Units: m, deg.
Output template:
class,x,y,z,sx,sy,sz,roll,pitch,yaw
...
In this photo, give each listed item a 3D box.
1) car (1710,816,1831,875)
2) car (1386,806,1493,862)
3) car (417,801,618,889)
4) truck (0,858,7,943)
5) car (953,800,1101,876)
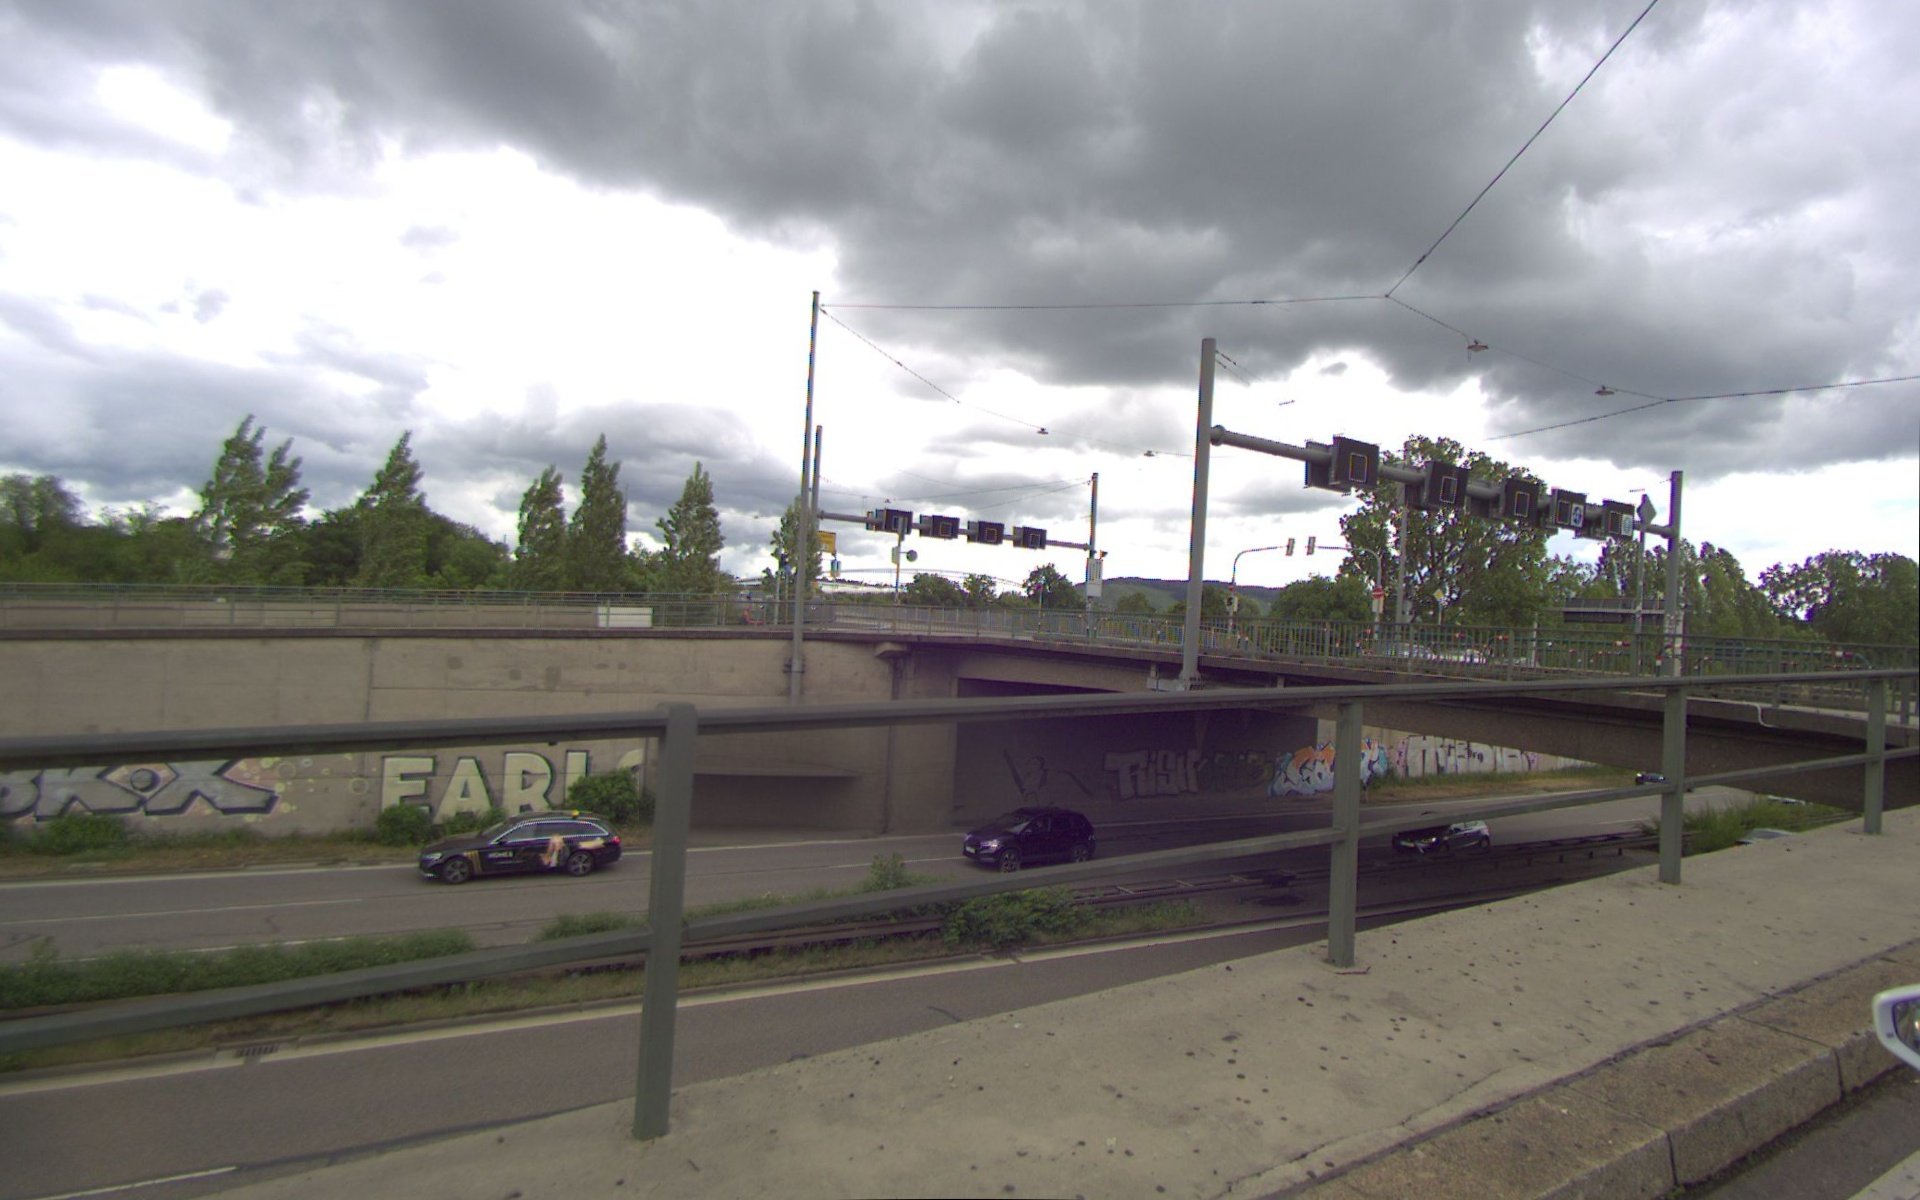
class,x,y,z,sx,sy,sz,roll,pitch,yaw
car,29.109,8.751,36.041,4.372,1.484,1.850,5,-2,-29
car,16.896,8.204,35.374,3.610,1.472,1.705,5,-3,-31
car,-11.537,6.320,26.287,4.581,1.673,1.851,5,-3,-30
truck,-14.449,4.477,9.653,7.148,3.048,2.222,4,-2,-30
car,2.072,7.176,30.641,4.134,1.741,1.873,5,-3,-30
